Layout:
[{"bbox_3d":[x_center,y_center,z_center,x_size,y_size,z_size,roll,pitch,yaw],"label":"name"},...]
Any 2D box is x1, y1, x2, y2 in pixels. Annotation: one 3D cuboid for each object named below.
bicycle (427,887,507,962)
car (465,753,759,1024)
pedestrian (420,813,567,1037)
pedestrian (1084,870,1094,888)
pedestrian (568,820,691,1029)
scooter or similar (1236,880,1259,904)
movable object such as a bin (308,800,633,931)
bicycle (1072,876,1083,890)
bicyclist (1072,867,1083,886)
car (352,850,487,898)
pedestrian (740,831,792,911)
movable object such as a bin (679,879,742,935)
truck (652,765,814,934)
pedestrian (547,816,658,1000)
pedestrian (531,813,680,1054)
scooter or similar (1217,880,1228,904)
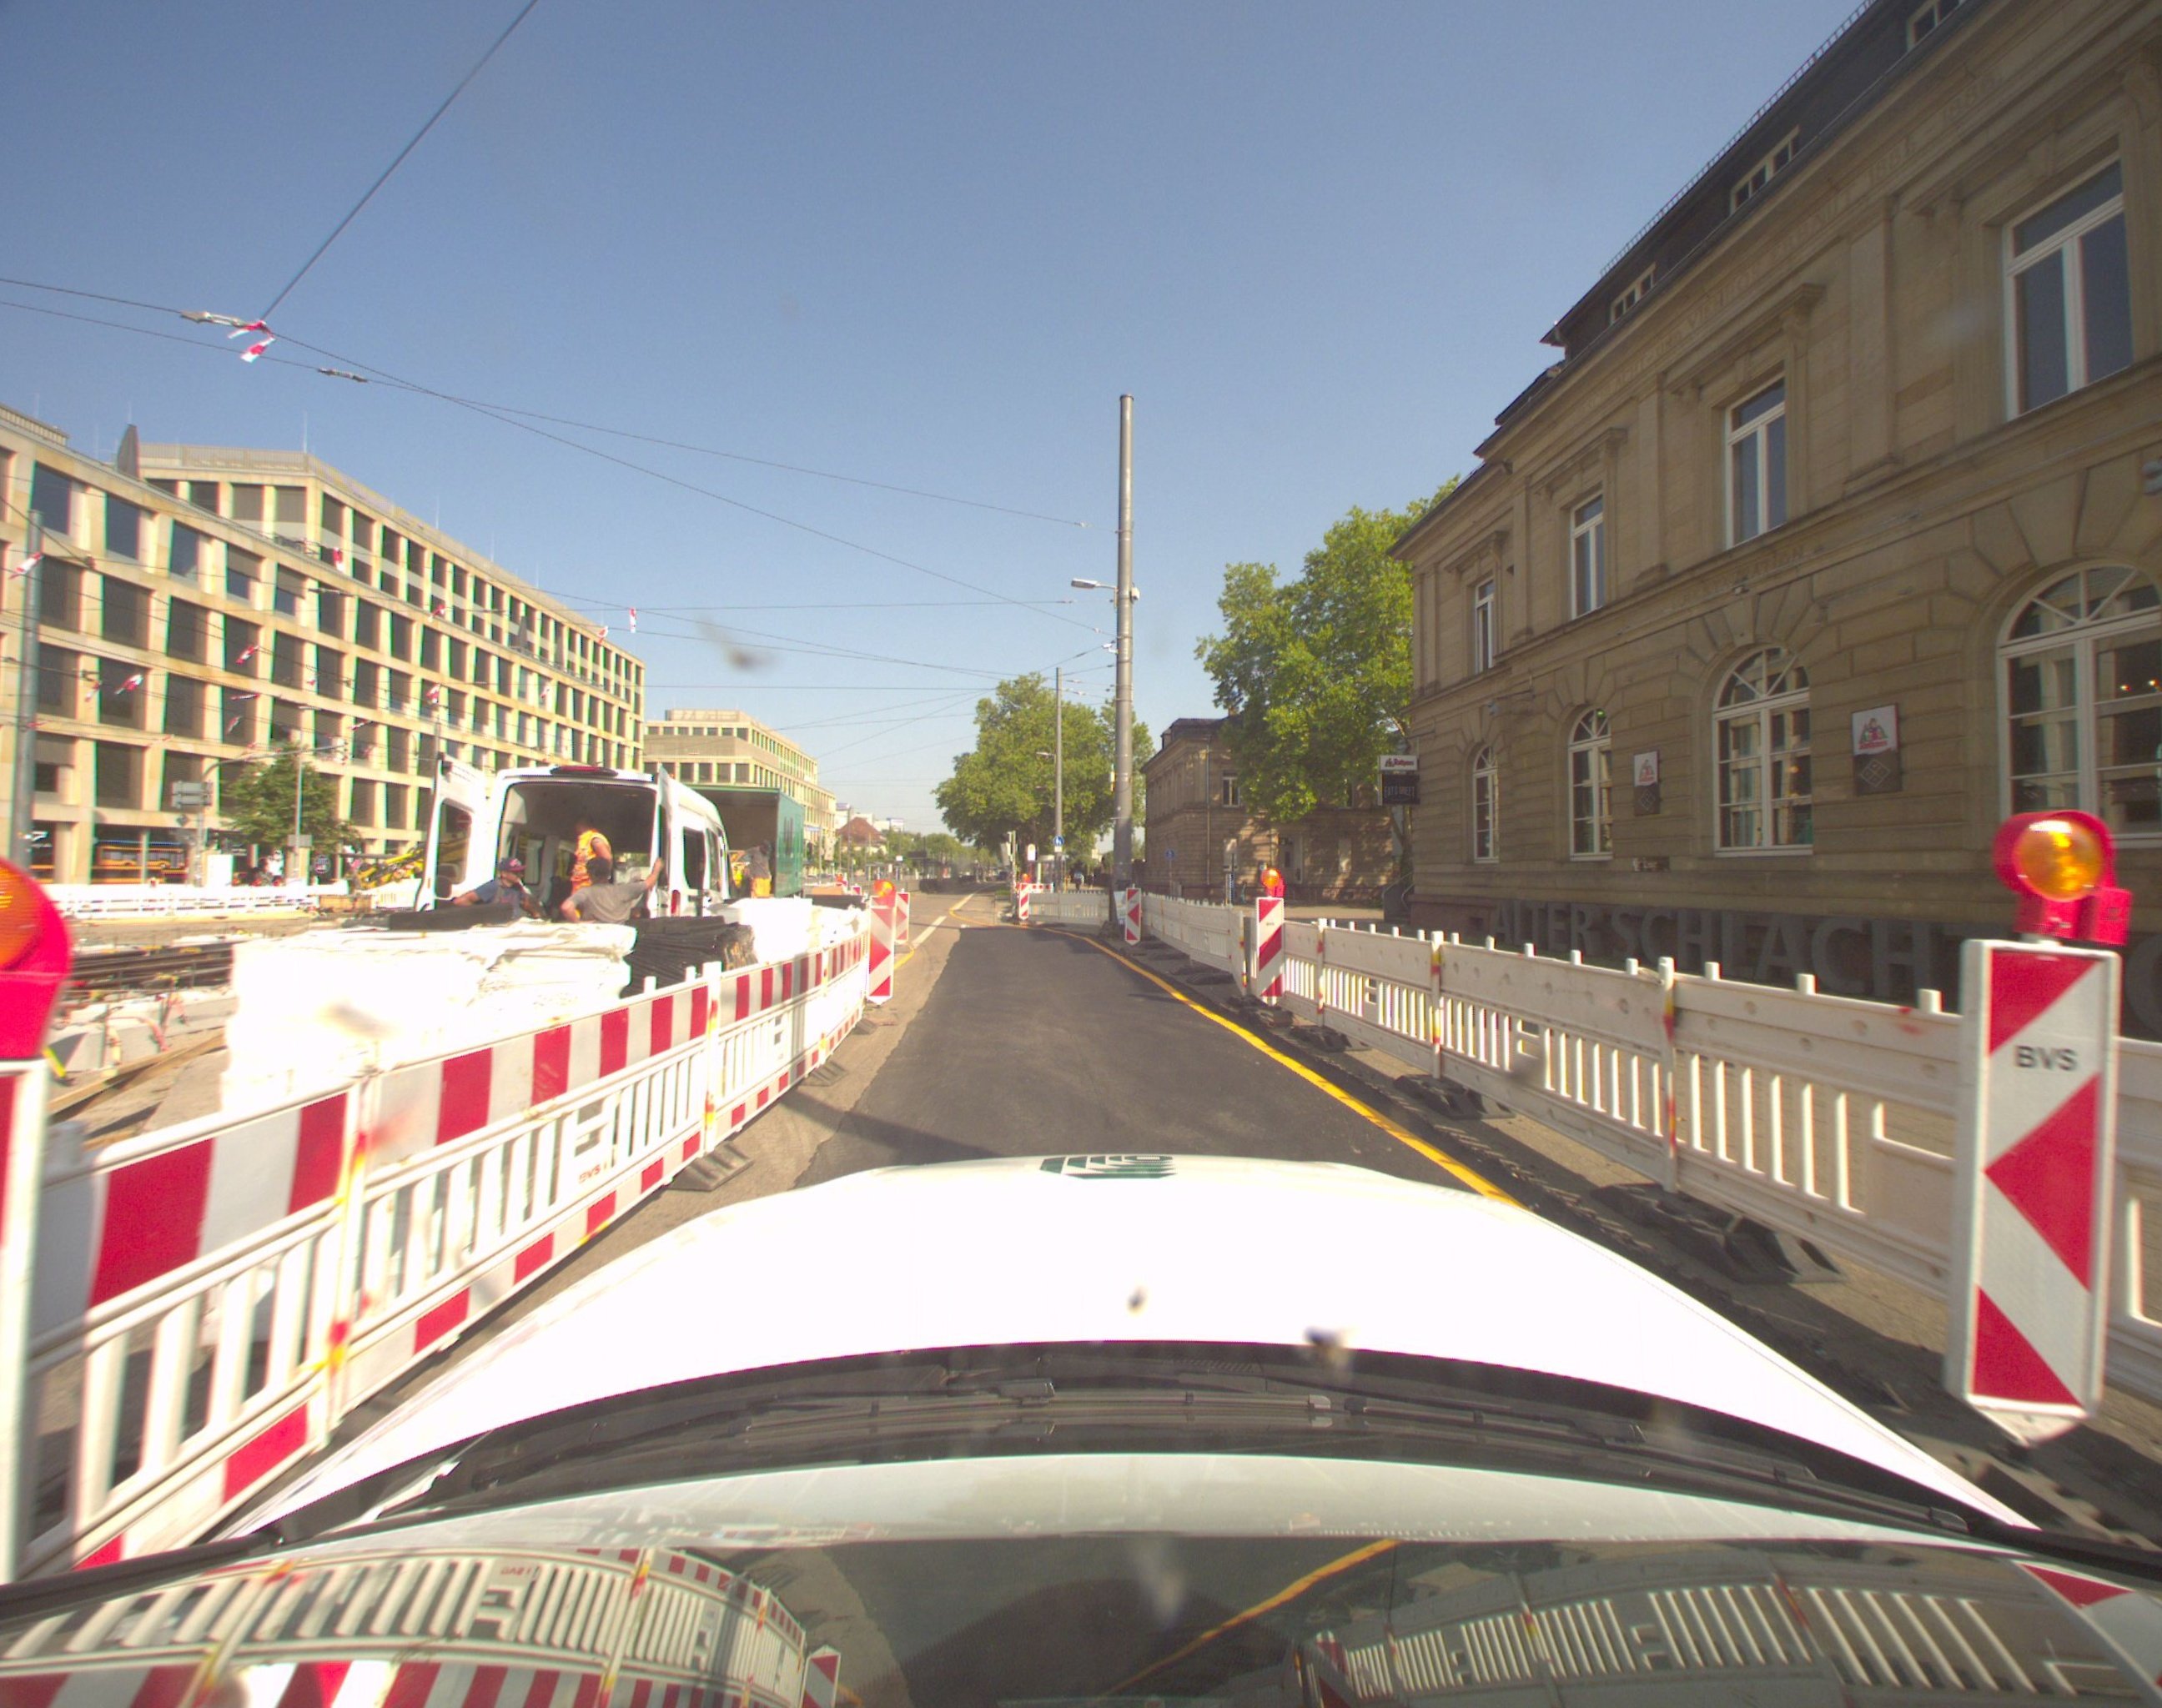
[{"bbox_3d":[-10.129,1.125,13.419,1.640,1.136,0.621,-1,-1,37],"label":"bicycle"},{"bbox_3d":[-5.821,0.385,10.991,2.230,2.729,5.141,0,-1,-16],"label":"car"},{"bbox_3d":[-5.694,0.647,7.925,0.727,2.014,0.912,-1,-1,27],"label":"pedestrian"},{"bbox_3d":[0.774,2.440,78.662,0.817,1.686,1.010,-1,-1,-5],"label":"pedestrian"},{"bbox_3d":[-4.601,0.689,8.362,0.731,2.014,0.907,-1,-1,2],"label":"pedestrian"},{"bbox_3d":[8.975,2.023,43.943,1.259,1.210,0.418,-1,1,-30],"label":"scooter or similar"},{"bbox_3d":[-21.577,0.375,29.794,3.475,4.013,9.085,-1,0,19],"label":"movable object such as a bin"},{"bbox_3d":[-0.283,2.339,66.148,0.716,1.042,1.898,0,0,-7],"label":"bicycle"},{"bbox_3d":[-0.282,1.847,66.200,0.716,1.543,0.953,0,-1,-7],"label":"bicyclist"},{"bbox_3d":[-29.531,0.898,36.620,1.805,2.030,5.118,0,-1,1],"label":"car"},{"bbox_3d":[-6.885,0.375,17.810,0.698,1.694,0.770,-1,-1,31],"label":"pedestrian"},{"bbox_3d":[-7.700,1.076,16.974,0.641,1.092,1.480,0,-1,-1],"label":"movable object such as a bin"},{"bbox_3d":[-8.981,-0.068,22.018,2.677,3.678,8.175,0,-1,-14],"label":"truck"},{"bbox_3d":[-5.479,0.596,9.379,0.731,2.014,0.907,-1,-1,0],"label":"pedestrian"},{"bbox_3d":[-4.278,0.670,7.369,0.727,2.014,0.913,-1,-1,28],"label":"pedestrian"},{"bbox_3d":[7.527,2.011,43.319,0.418,1.210,1.261,0,1,18],"label":"scooter or similar"}]
